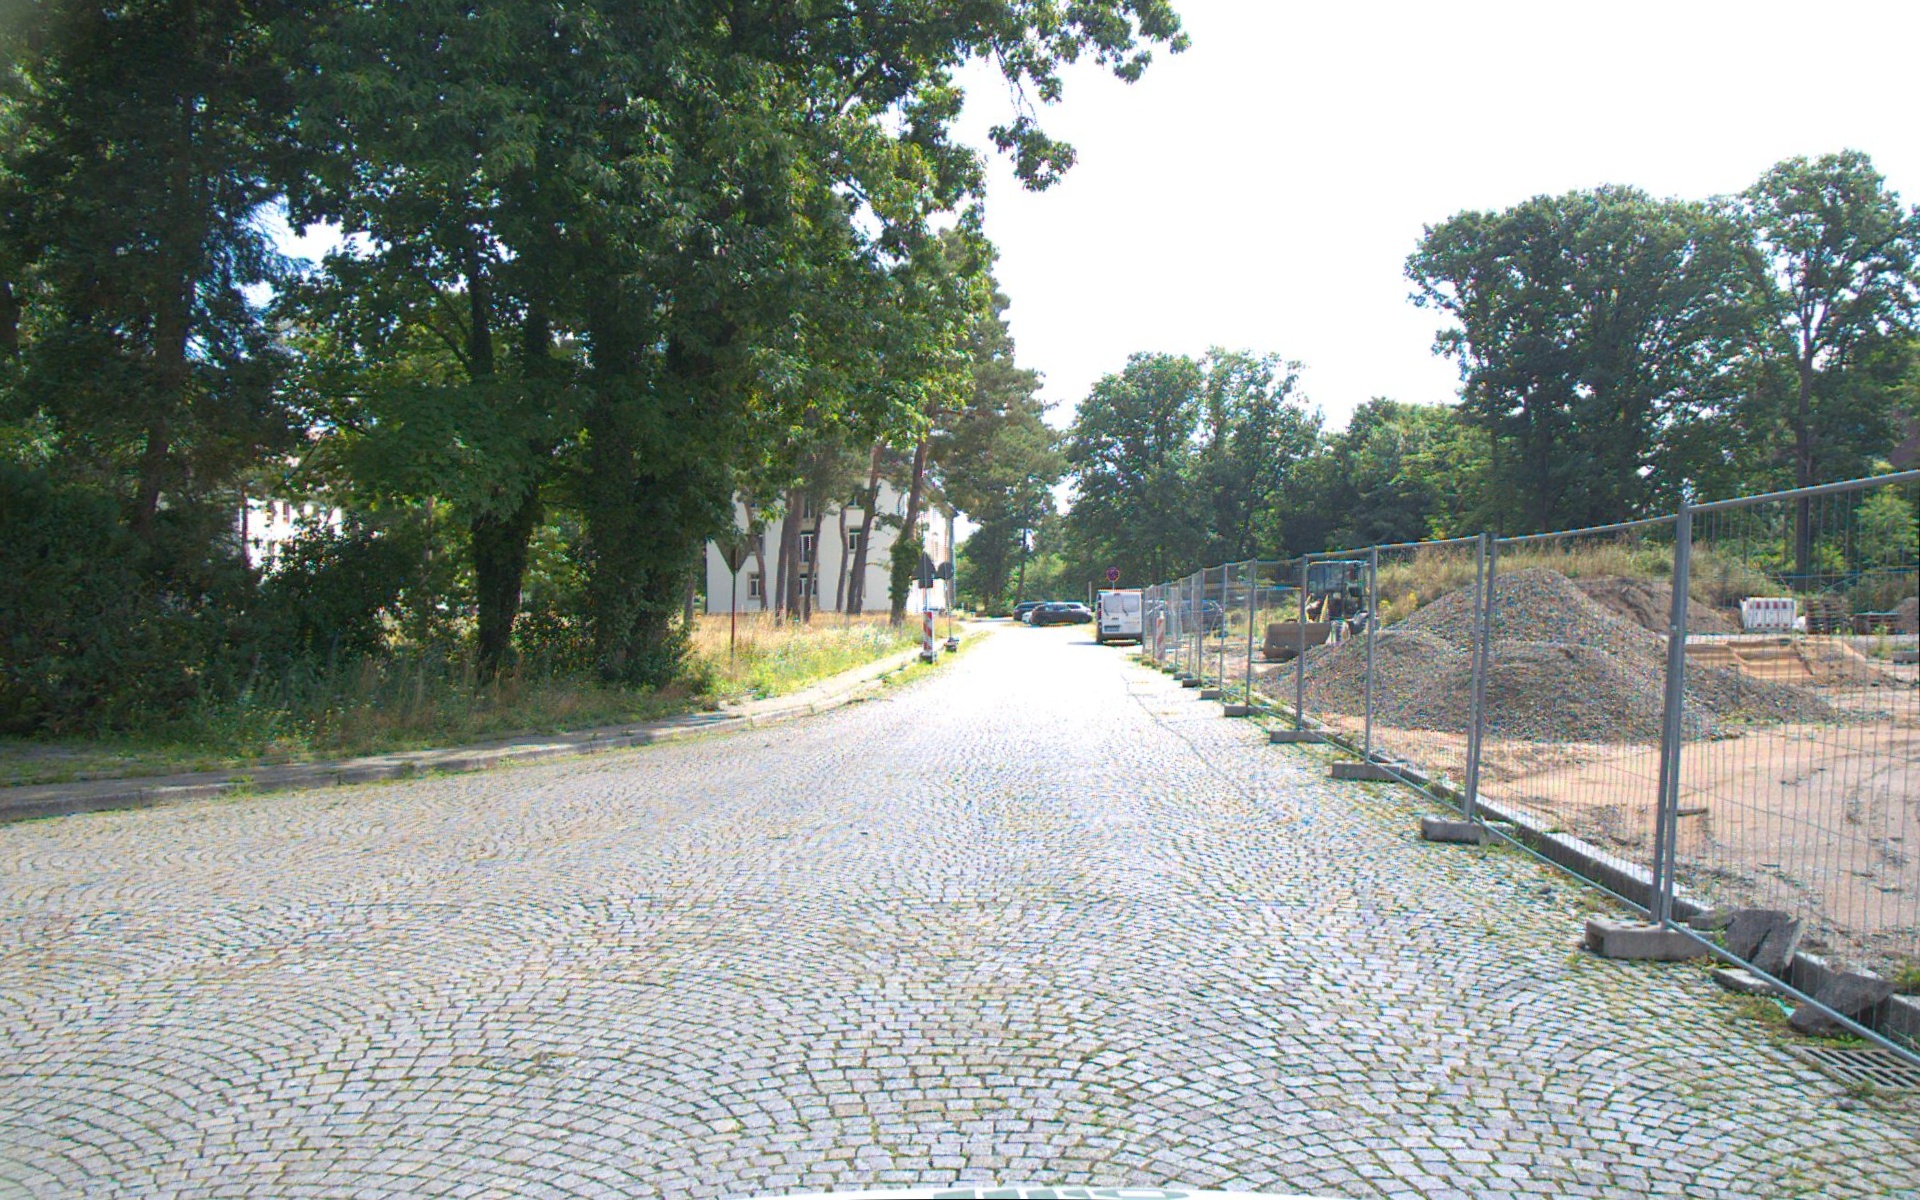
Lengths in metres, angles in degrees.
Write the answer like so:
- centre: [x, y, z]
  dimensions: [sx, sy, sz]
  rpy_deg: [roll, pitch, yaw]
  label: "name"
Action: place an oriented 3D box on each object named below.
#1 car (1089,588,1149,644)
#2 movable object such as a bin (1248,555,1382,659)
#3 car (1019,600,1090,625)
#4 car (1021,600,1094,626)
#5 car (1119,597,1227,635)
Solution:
- centre: [6.009, 0.602, 62.894]
  dimensions: [1.952, 2.049, 4.091]
  rpy_deg: [-1, 0, 1]
  label: "car"
- centre: [9.635, 0.183, 44.600]
  dimensions: [2.089, 2.638, 4.780]
  rpy_deg: [-1, 0, 31]
  label: "movable object such as a bin"
- centre: [6.484, 0.877, 113.999]
  dimensions: [4.684, 1.669, 1.999]
  rpy_deg: [-1, 0, -3]
  label: "car"
- centre: [6.535, 0.874, 110.804]
  dimensions: [4.684, 1.669, 1.999]
  rpy_deg: [-1, 0, -3]
  label: "car"
- centre: [8.831, 0.642, 68.469]
  dimensions: [4.308, 1.537, 2.002]
  rpy_deg: [0, 0, 10]
  label: "car"
